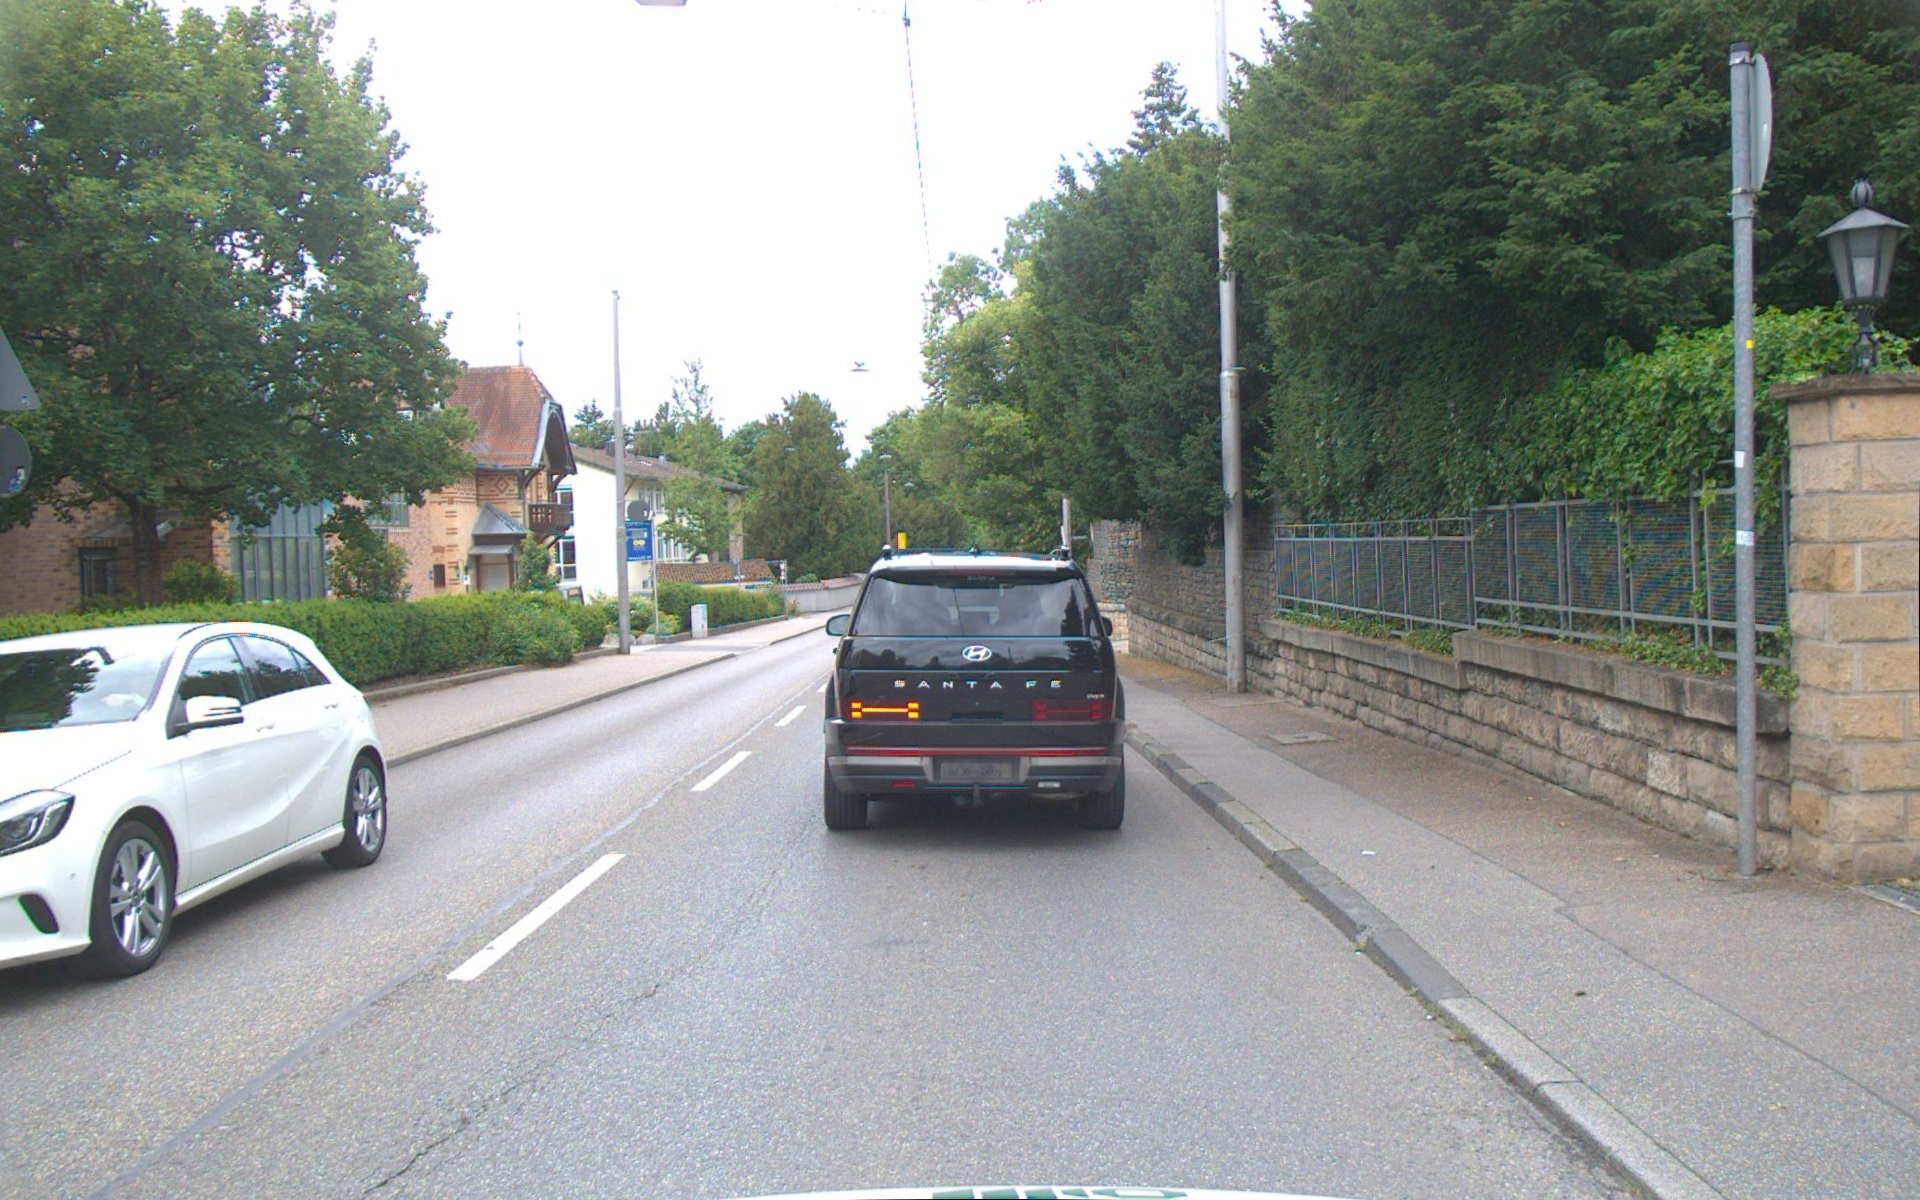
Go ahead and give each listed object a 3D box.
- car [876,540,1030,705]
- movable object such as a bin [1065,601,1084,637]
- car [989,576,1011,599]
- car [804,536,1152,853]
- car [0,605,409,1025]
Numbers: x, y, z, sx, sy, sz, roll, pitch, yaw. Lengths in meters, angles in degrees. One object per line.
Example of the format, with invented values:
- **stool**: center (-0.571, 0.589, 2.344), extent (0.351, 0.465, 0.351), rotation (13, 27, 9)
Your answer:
- **car**: center (-0.171, 0.211, 23.149), extent (1.918, 1.989, 4.223), rotation (1, 3, -3)
- **movable object such as a bin**: center (3.061, 0.514, 44.306), extent (0.435, 0.925, 0.394), rotation (-2, 0, 9)
- **car**: center (3.230, -0.990, 131.569), extent (1.610, 1.588, 3.651), rotation (-2, -2, 3)
- **car**: center (0.097, 0.496, 11.297), extent (1.917, 1.743, 4.223), rotation (1, 1, 0)
- **car**: center (-4.192, 0.827, 7.872), extent (1.731, 1.446, 4.065), rotation (-4, 0, -1)
